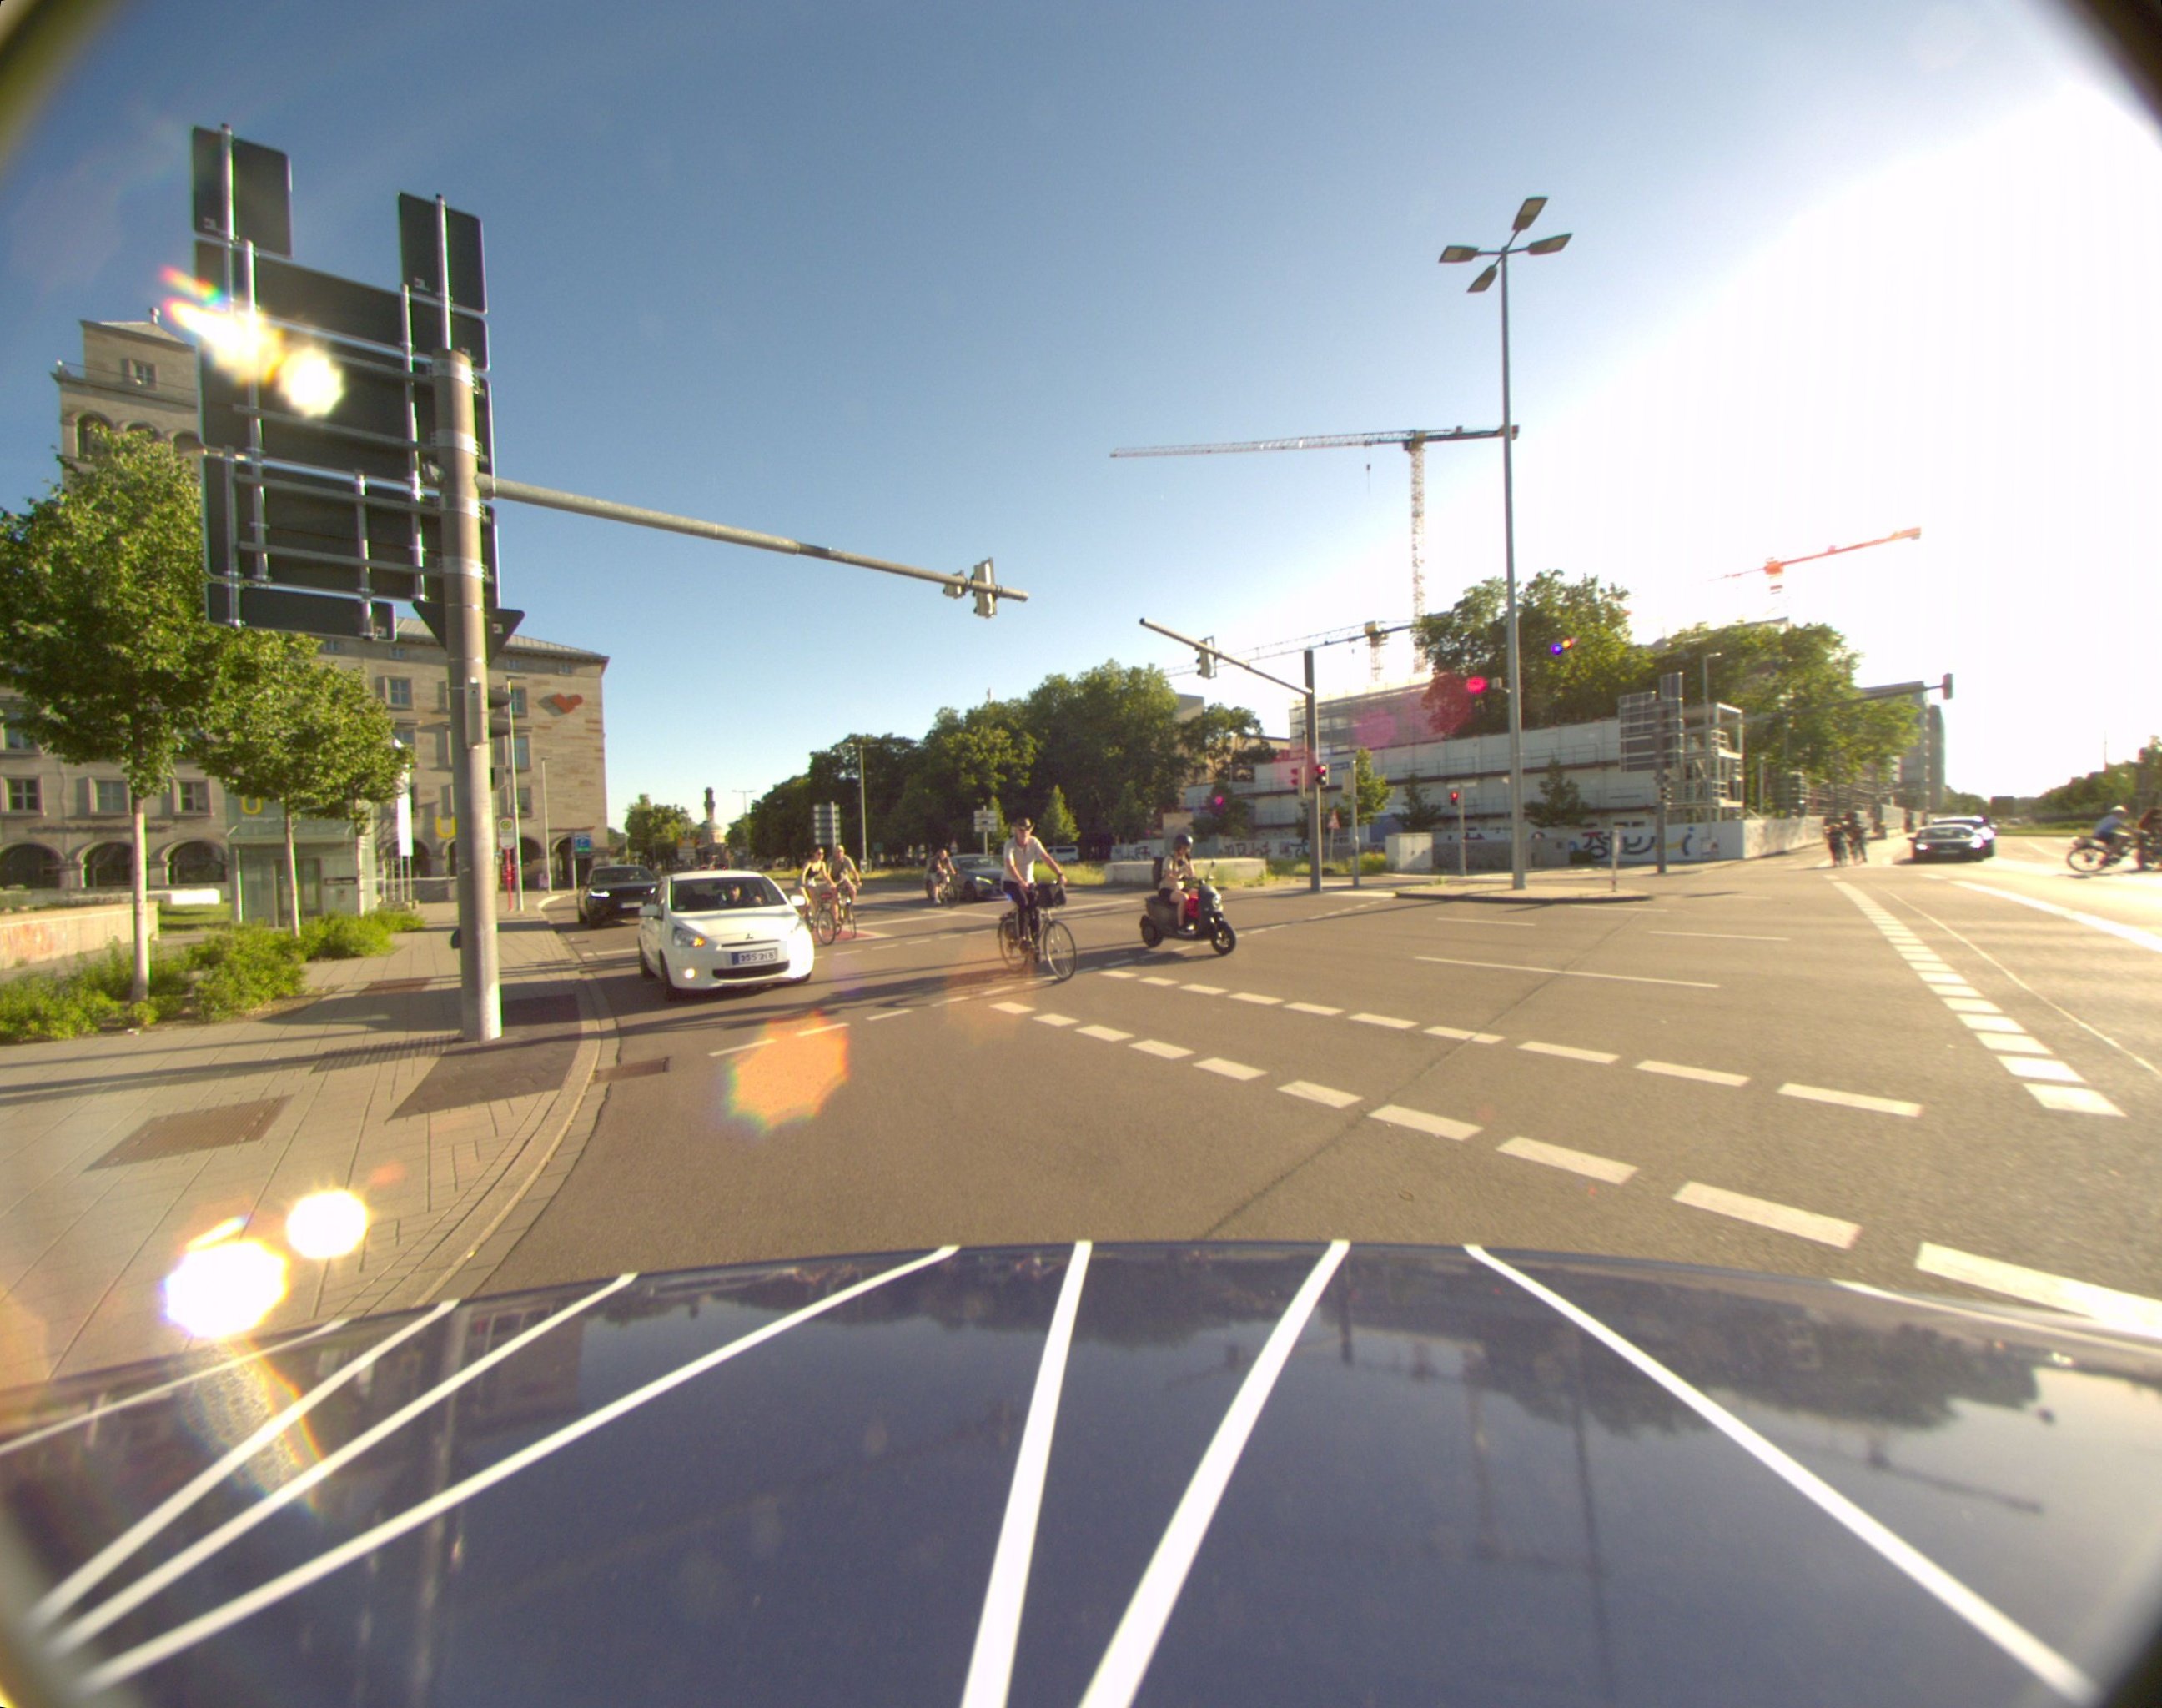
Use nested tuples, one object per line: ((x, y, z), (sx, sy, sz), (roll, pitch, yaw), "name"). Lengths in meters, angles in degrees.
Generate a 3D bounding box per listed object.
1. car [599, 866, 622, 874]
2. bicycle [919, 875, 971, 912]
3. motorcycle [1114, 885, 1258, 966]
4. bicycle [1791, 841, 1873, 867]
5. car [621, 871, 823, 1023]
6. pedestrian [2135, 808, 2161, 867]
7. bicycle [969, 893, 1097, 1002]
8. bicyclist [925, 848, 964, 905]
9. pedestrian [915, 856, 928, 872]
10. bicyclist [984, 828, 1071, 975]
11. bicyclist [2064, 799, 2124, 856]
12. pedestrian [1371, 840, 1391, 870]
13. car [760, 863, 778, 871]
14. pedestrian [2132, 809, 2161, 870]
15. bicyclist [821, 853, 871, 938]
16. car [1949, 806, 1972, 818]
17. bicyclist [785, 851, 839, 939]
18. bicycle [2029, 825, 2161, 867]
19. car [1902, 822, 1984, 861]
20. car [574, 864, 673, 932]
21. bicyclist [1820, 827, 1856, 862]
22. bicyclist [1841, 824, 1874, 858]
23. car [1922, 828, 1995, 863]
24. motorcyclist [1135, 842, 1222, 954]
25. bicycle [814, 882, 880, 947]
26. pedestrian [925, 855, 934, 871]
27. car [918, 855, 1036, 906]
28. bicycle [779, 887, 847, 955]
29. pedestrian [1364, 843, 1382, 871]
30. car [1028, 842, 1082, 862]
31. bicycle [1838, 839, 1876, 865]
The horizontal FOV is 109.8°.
((-94.858, 3.230, 153.078), (3.777, 1.443, 1.615), (-3, 2, -34), "car")
((-3.736, 1.065, 20.758), (0.625, 0.903, 1.906), (-4, 1, -34), "bicycle")
((1.429, 0.953, 10.678), (0.759, 0.963, 1.954), (-4, 2, -41), "motorcycle")
((28.507, 0.010, 28.893), (0.806, 0.922, 2.074), (-3, 0, -19), "bicycle")
((-4.932, 1.033, 10.121), (1.664, 1.463, 3.959), (-5, 2, -35), "car")
((28.658, -0.449, 20.371), (0.521, 1.557, 0.450), (-3, 1, -35), "pedestrian")
((-0.622, 1.056, 9.125), (0.710, 1.088, 1.796), (-2, 1, -33), "bicycle")
((-3.723, 0.596, 20.698), (0.625, 1.495, 0.935), (-4, 2, -34), "bicyclist")
((-18.330, 1.124, 87.274), (0.999, 1.773, 0.961), (-4, 3, -35), "pedestrian")
((-0.648, 0.536, 9.111), (0.702, 1.660, 0.784), (-2, 1, -33), "bicyclist")
((25.649, -0.662, 19.243), (0.807, 1.394, 0.841), (-3, 0, -33), "bicyclist")
((16.191, 0.058, 40.999), (0.842, 1.580, 0.652), (-2, 1, -35), "pedestrian")
((-47.414, 1.960, 115.400), (1.622, 1.126, 3.761), (-3, 1, -36), "car")
((27.966, -0.382, 19.935), (0.521, 1.557, 0.450), (-3, 1, -35), "pedestrian")
((-4.534, 0.778, 14.645), (0.627, 1.566, 0.892), (-2, 2, -36), "bicyclist")
((111.974, -5.397, 96.756), (4.007, 1.317, 1.781), (-4, 2, -41), "car")
((-4.916, 0.720, 13.864), (0.653, 1.534, 0.845), (-2, 1, -36), "bicyclist")
((25.681, -0.193, 19.207), (0.807, 0.973, 2.072), (-3, 0, -33), "bicycle")
((34.130, -0.505, 30.060), (4.007, 1.368, 1.995), (-2, 0, -39), "car")
((-13.271, 1.156, 21.899), (2.003, 1.652, 4.779), (-2, 1, -36), "car")
((28.571, -0.367, 28.687), (0.806, 1.263, 0.636), (-3, 0, -19), "bicyclist")
((30.699, -0.504, 30.053), (0.778, 1.290, 0.803), (-3, 1, -38), "bicyclist")
((38.845, -0.392, 33.624), (4.007, 1.368, 1.995), (-2, 0, -39), "car")
((1.376, 0.591, 10.712), (0.759, 1.475, 0.879), (-4, 2, -41), "motorcyclist")
((-4.539, 1.129, 14.661), (0.627, 1.110, 1.811), (-2, 1, -36), "bicycle")
((-16.250, 0.966, 81.535), (0.666, 1.716, 0.696), (-3, 1, -35), "pedestrian")
((-3.339, 0.755, 23.693), (1.779, 1.344, 4.514), (-3, 2, -34), "car")
((-4.927, 1.179, 13.887), (0.653, 1.088, 1.796), (-2, 1, -36), "bicycle")
((15.513, 0.175, 40.404), (0.605, 1.445, 0.652), (-2, 1, -35), "pedestrian")
((-2.747, -0.212, 80.385), (5.338, 1.880, 1.996), (-2, 0, -30), "car")
((30.710, -0.096, 30.051), (2.081, 0.922, 0.803), (-3, 0, -38), "bicycle")
